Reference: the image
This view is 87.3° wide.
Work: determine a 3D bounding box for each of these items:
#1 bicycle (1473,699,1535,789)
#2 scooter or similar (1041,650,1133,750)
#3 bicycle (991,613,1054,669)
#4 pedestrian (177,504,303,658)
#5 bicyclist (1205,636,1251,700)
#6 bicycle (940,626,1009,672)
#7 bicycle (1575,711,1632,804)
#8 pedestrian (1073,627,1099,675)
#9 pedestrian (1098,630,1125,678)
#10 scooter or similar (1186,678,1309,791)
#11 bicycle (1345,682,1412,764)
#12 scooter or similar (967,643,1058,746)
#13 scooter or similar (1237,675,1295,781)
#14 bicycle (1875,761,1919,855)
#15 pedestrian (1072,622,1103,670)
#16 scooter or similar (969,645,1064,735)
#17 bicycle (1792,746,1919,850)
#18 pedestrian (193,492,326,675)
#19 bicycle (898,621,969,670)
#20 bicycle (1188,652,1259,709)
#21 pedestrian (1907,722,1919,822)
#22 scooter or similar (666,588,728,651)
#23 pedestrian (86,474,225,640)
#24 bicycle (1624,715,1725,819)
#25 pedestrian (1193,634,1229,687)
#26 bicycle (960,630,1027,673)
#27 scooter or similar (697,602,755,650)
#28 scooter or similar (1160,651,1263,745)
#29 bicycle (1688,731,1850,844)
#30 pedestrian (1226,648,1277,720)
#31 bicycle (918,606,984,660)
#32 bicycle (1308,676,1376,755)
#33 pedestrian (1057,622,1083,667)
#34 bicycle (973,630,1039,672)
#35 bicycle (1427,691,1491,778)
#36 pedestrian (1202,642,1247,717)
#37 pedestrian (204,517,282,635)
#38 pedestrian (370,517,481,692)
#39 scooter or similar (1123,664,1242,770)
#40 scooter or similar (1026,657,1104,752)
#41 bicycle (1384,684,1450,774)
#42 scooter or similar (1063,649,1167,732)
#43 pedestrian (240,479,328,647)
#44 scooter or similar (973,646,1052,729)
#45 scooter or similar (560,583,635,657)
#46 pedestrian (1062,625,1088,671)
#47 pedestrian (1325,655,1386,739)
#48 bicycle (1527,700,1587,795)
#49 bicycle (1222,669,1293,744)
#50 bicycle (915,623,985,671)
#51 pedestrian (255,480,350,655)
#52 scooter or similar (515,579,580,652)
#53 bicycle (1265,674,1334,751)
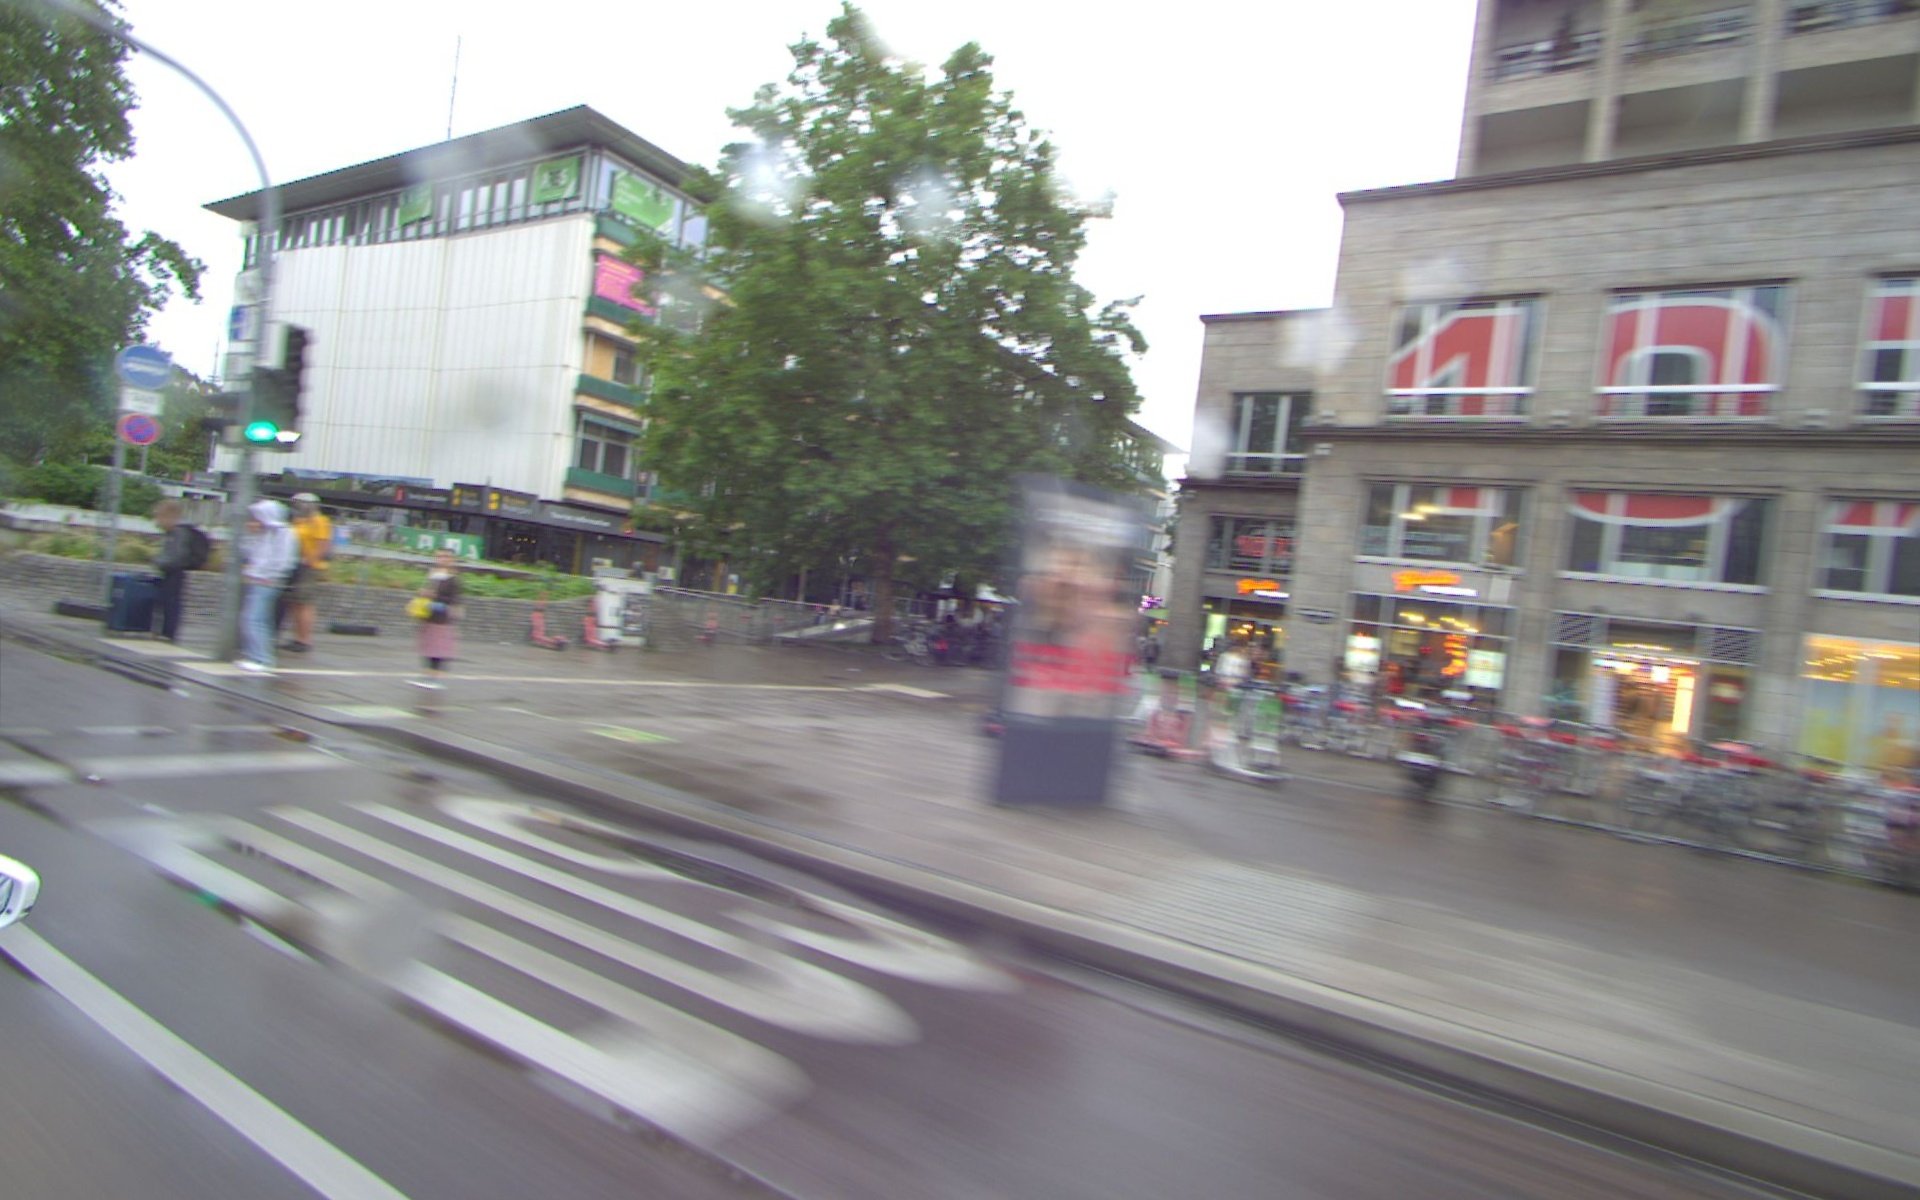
[{"bbox_3d":[8.982,2.323,16.567,0.608,1.253,1.990,7,1,33],"label":"bicycle"},{"bbox_3d":[1.852,1.449,14.693,1.154,1.296,0.369,6,-1,33],"label":"scooter or similar"},{"bbox_3d":[2.116,1.392,34.322,1.967,1.653,0.615,7,0,40],"label":"bicycle"},{"bbox_3d":[-8.640,-0.217,12.085,0.746,1.712,0.876,7,0,32],"label":"pedestrian"},{"bbox_3d":[7.118,1.806,26.754,0.642,1.574,0.904,6,0,-18],"label":"bicyclist"},{"bbox_3d":[0.418,1.427,29.433,1.995,1.116,0.615,7,2,40],"label":"bicycle"},{"bbox_3d":[10.079,2.430,15.752,0.608,1.241,1.616,7,1,33],"label":"bicycle"},{"bbox_3d":[4.649,1.883,37.244,0.699,1.687,0.771,7,-1,3],"label":"pedestrian"},{"bbox_3d":[5.578,1.997,37.108,0.699,1.687,0.771,7,-1,3],"label":"pedestrian"},{"bbox_3d":[3.447,1.597,12.151,0.434,1.142,1.355,10,-3,-31],"label":"scooter or similar"},{"bbox_3d":[7.373,2.120,17.688,0.608,1.253,1.990,7,1,33],"label":"bicycle"},{"bbox_3d":[0.709,1.275,13.692,1.081,1.251,0.324,6,-1,33],"label":"scooter or similar"},{"bbox_3d":[4.126,1.684,13.524,0.581,1.271,1.308,6,-1,18],"label":"scooter or similar"},{"bbox_3d":[13.247,2.878,13.322,0.810,1.123,1.982,6,1,18],"label":"bicycle"},{"bbox_3d":[5.389,1.953,42.577,0.822,1.885,0.820,6,-1,33],"label":"pedestrian"},{"bbox_3d":[0.902,1.423,15.909,1.350,1.264,0.435,8,-1,-28],"label":"scooter or similar"},{"bbox_3d":[12.514,2.692,13.840,0.728,1.122,2.235,7,-2,17],"label":"bicycle"},{"bbox_3d":[-7.477,-0.163,10.756,0.696,1.827,0.748,7,0,18],"label":"pedestrian"},{"bbox_3d":[-0.742,1.251,28.016,1.967,1.133,0.615,7,2,40],"label":"bicycle"},{"bbox_3d":[7.023,2.136,26.913,0.652,1.270,2.003,7,-1,-21],"label":"bicycle"},{"bbox_3d":[17.044,3.026,17.416,0.696,1.710,0.597,6,0,32],"label":"pedestrian"},{"bbox_3d":[-6.311,0.458,24.160,1.292,1.347,0.410,7,-1,20],"label":"scooter or similar"},{"bbox_3d":[-9.760,-0.506,12.224,0.932,1.861,0.789,7,0,18],"label":"pedestrian"},{"bbox_3d":[10.914,2.509,15.436,0.606,1.253,1.995,6,1,19],"label":"bicycle"},{"bbox_3d":[8.812,2.123,35.258,0.853,1.786,0.703,6,1,37],"label":"pedestrian"},{"bbox_3d":[0.996,1.551,30.387,1.967,1.069,0.615,7,2,40],"label":"bicycle"},{"bbox_3d":[-5.911,0.661,25.384,1.292,1.048,0.477,7,1,20],"label":"scooter or similar"},{"bbox_3d":[4.463,1.734,17.986,0.617,1.445,1.696,8,-2,-32],"label":"scooter or similar"},{"bbox_3d":[11.811,2.679,14.841,0.863,1.123,2.885,6,1,20],"label":"bicycle"},{"bbox_3d":[6.767,1.936,23.349,0.662,1.542,0.779,6,1,-18],"label":"pedestrian"},{"bbox_3d":[-0.335,1.133,34.766,2.100,1.581,0.792,7,0,40],"label":"bicycle"},{"bbox_3d":[6.873,2.028,18.026,0.608,1.253,1.990,7,1,33],"label":"bicycle"},{"bbox_3d":[5.301,2.167,48.475,0.835,2.037,0.987,7,-1,16],"label":"pedestrian"},{"bbox_3d":[1.404,1.572,30.985,1.967,1.039,0.615,7,2,40],"label":"bicycle"},{"bbox_3d":[8.412,2.220,16.926,0.608,1.253,1.990,7,1,33],"label":"bicycle"},{"bbox_3d":[5.996,1.799,22.804,0.637,1.622,0.613,5,1,-19],"label":"pedestrian"},{"bbox_3d":[-10.173,-0.336,14.275,0.654,1.573,0.626,8,-1,-44],"label":"pedestrian"},{"bbox_3d":[-5.952,0.052,11.228,0.743,1.827,0.541,6,0,4],"label":"pedestrian"},{"bbox_3d":[3.024,1.592,13.722,1.348,1.245,0.568,8,-1,-14],"label":"scooter or similar"},{"bbox_3d":[1.493,1.477,14.332,0.941,1.221,0.305,6,-1,33],"label":"scooter or similar"},{"bbox_3d":[7.903,2.184,17.360,0.608,1.352,1.990,7,1,33],"label":"bicycle"},{"bbox_3d":[2.822,1.643,18.441,1.718,1.275,0.622,7,-1,5],"label":"scooter or similar"},{"bbox_3d":[-9.227,-0.499,13.735,0.706,2.172,0.712,6,1,-44],"label":"pedestrian"},{"bbox_3d":[0.871,1.442,16.605,1.085,1.231,0.473,8,-1,-27],"label":"scooter or similar"},{"bbox_3d":[-7.074,0.389,19.631,1.292,1.273,0.374,7,-1,20],"label":"scooter or similar"},{"bbox_3d":[5.324,2.228,46.673,0.835,2.037,0.987,7,-1,16],"label":"pedestrian"},{"bbox_3d":[8.636,2.112,21.984,0.876,1.694,0.792,6,-1,40],"label":"pedestrian"},{"bbox_3d":[9.574,2.312,16.101,0.608,1.282,1.990,7,1,33],"label":"bicycle"},{"bbox_3d":[5.601,1.955,18.842,0.608,1.253,1.990,7,1,33],"label":"bicycle"},{"bbox_3d":[-0.303,1.337,28.836,1.995,1.116,0.615,7,2,40],"label":"bicycle"},{"bbox_3d":[-8.510,-0.410,13.028,0.655,2.172,0.556,7,0,18],"label":"pedestrian"},{"bbox_3d":[-7.625,0.281,18.596,1.139,1.231,0.352,6,-2,31],"label":"scooter or similar"},{"bbox_3d":[6.247,2.027,18.443,0.608,1.253,1.990,7,1,33],"label":"bicycle"}]
